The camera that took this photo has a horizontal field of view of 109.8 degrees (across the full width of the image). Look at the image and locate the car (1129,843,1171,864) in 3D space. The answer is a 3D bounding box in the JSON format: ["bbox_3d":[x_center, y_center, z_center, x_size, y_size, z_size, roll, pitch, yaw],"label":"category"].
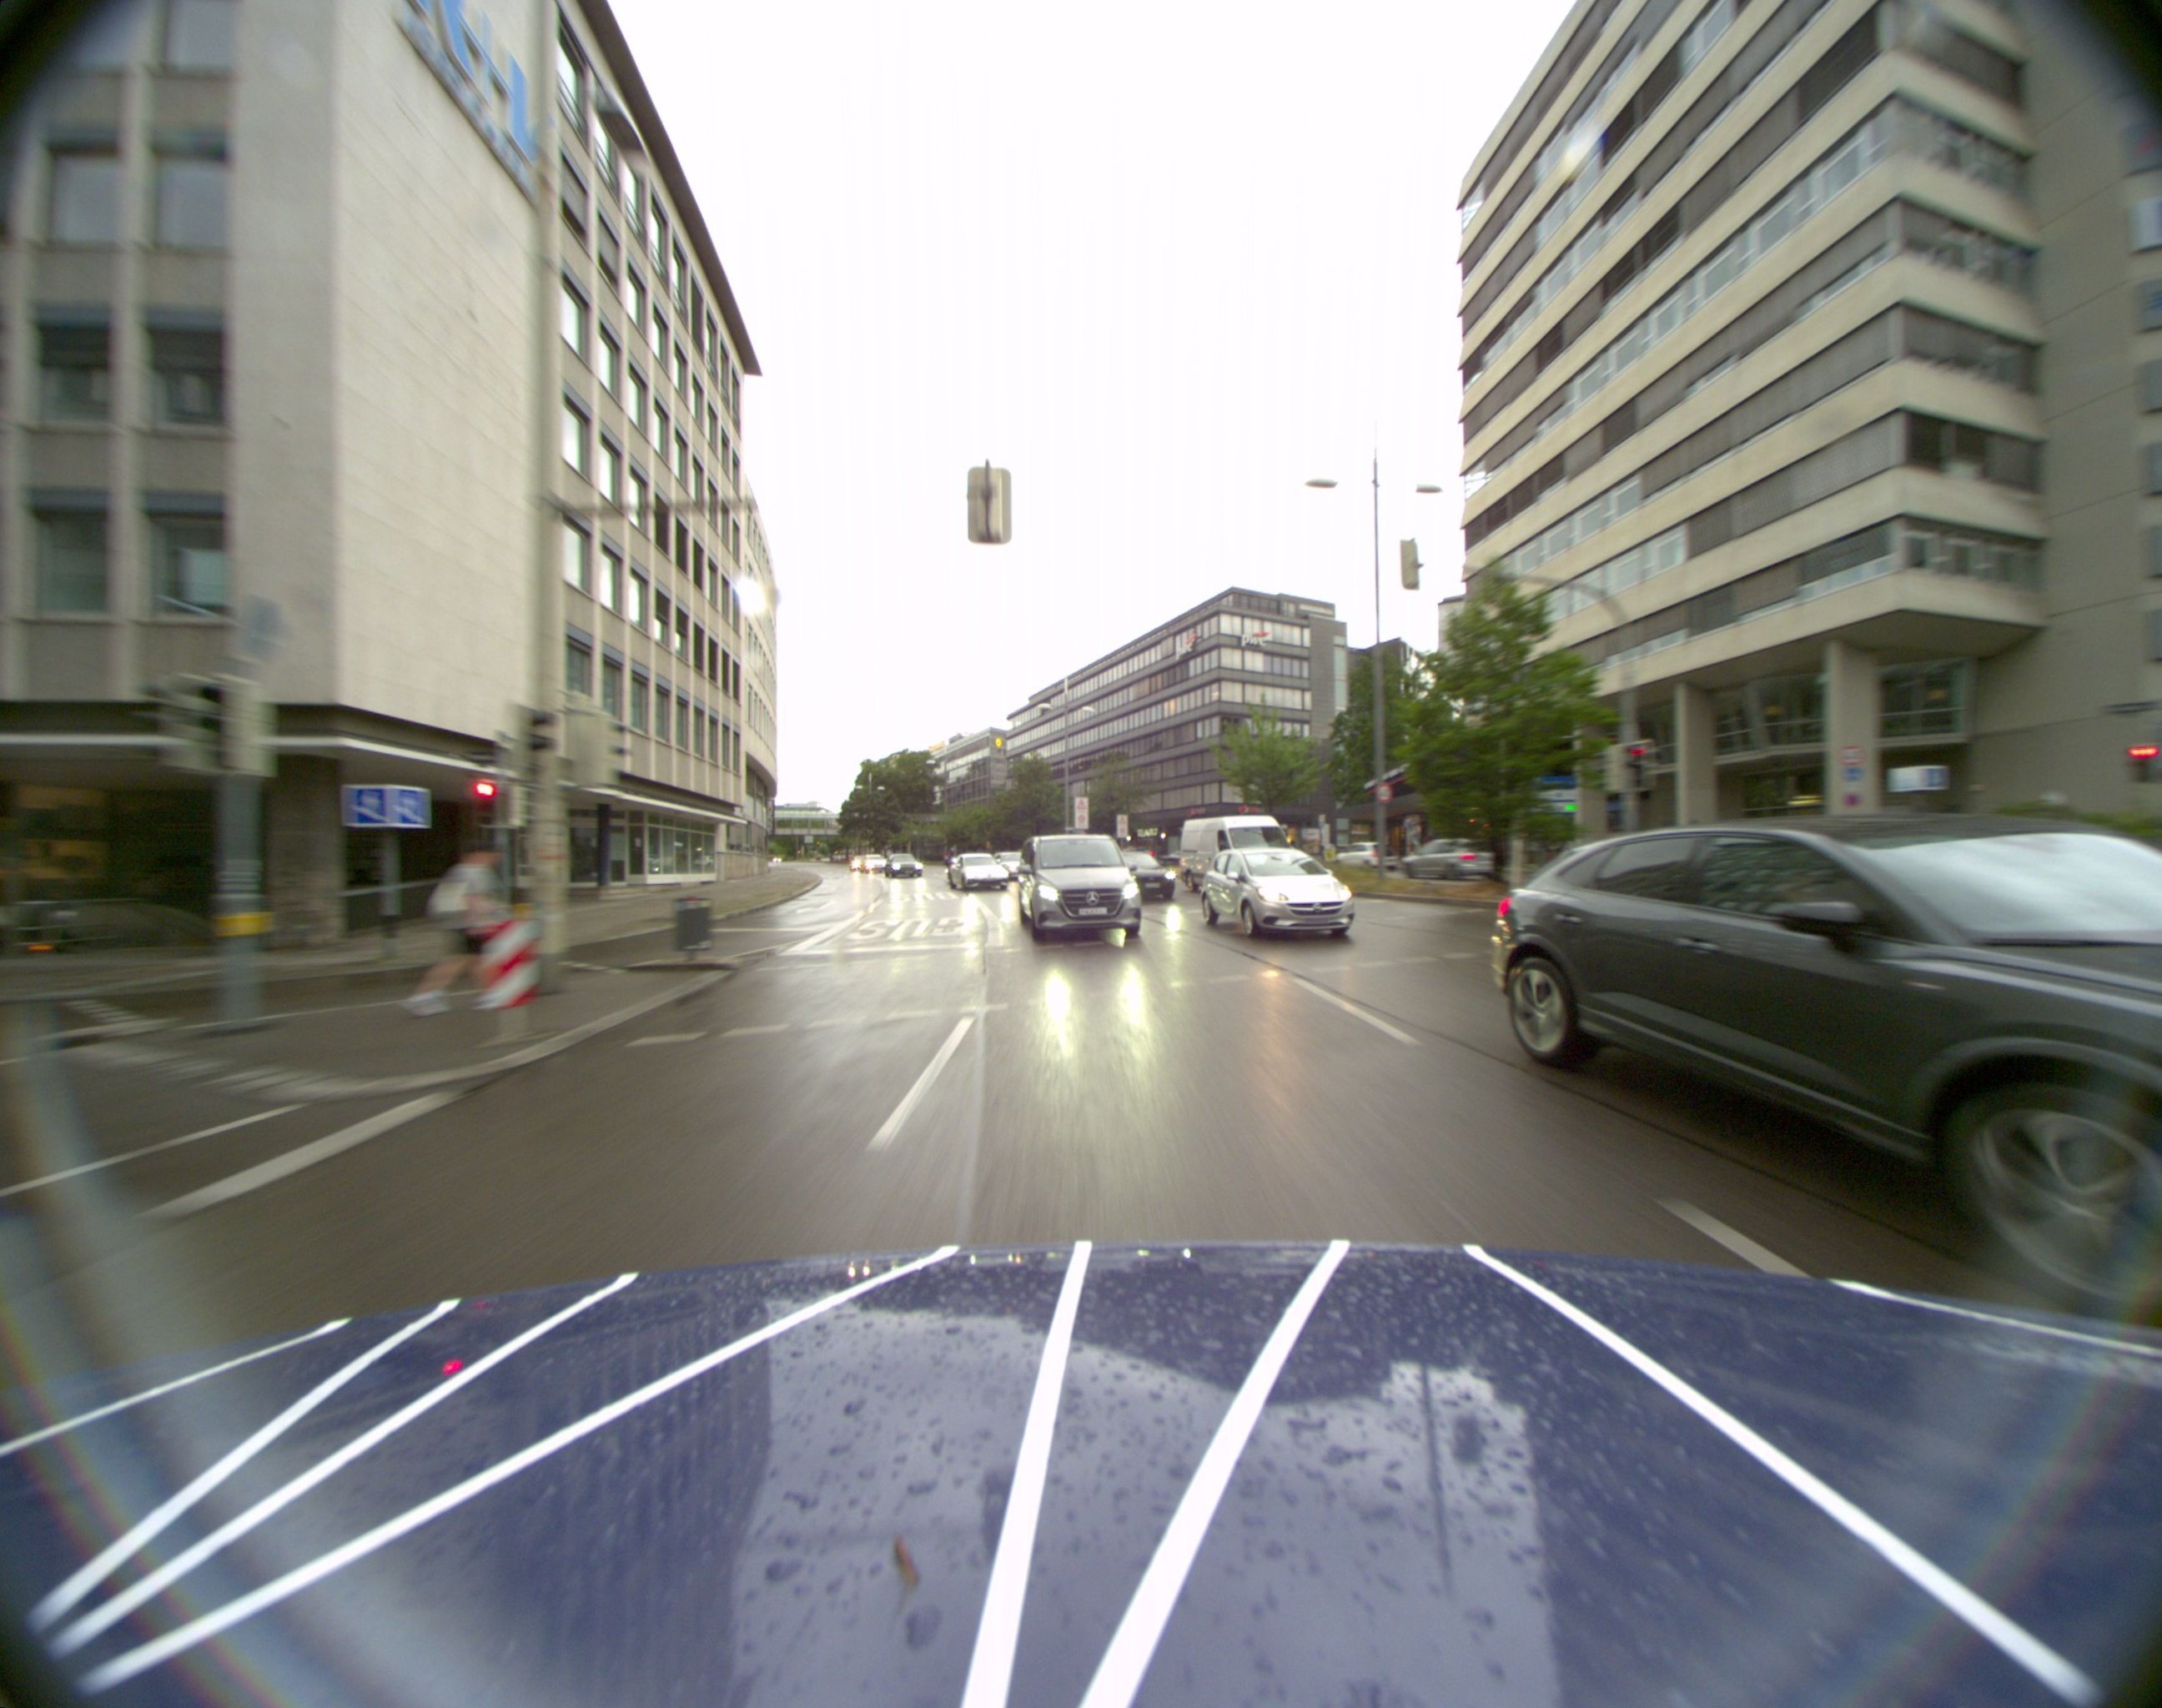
[{"bbox_3d":[5.545,-0.034,61.390,1.756,1.508,4.056,-3,1,-20],"label":"car"}]

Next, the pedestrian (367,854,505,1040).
[{"bbox_3d":[-6.377,0.873,7.562,0.654,1.716,0.816,-2,1,-11],"label":"pedestrian"}]

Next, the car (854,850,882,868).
[{"bbox_3d":[-19.351,0.448,68.956,1.895,1.477,3.992,-3,1,-23],"label":"car"}]

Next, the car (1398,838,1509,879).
[{"bbox_3d":[14.551,0.167,29.971,1.744,1.455,3.995,-2,1,-14],"label":"car"}]

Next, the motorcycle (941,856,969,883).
[{"bbox_3d":[-6.455,0.761,38.695,1.131,1.259,3.370,-2,1,-13],"label":"motorcycle"}]

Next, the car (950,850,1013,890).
[{"bbox_3d":[-4.213,0.625,31.583,1.692,1.477,3.993,-3,1,-20],"label":"car"}]

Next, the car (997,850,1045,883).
[{"bbox_3d":[-3.168,0.613,39.362,1.755,1.508,3.763,-2,1,-15],"label":"car"}]

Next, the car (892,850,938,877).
[{"bbox_3d":[-10.063,0.559,45.828,1.895,1.477,3.992,-3,1,-24],"label":"car"}]

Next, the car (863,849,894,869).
[{"bbox_3d":[-16.588,0.417,62.178,1.895,1.477,3.992,-3,1,-23],"label":"car"}]

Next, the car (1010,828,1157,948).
[{"bbox_3d":[-0.176,0.534,14.928,2.061,1.881,5.044,-2,1,-9],"label":"car"}]

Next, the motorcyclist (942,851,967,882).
[{"bbox_3d":[-6.468,0.618,38.774,1.153,1.501,1.196,-2,1,-13],"label":"motorcyclist"}]

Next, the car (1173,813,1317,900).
[{"bbox_3d":[4.978,0.058,24.217,2.261,2.371,5.713,-2,1,-12],"label":"car"}]

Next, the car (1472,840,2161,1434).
[{"bbox_3d":[3.790,0.742,3.402,1.802,1.543,4.387,-2,1,0],"label":"car"}]

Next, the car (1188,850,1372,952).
[{"bbox_3d":[3.341,0.700,13.648,1.775,1.470,4.124,-2,1,-7],"label":"car"}]

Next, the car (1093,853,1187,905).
[{"bbox_3d":[1.736,0.716,23.763,1.906,1.393,4.237,-2,1,-10],"label":"car"}]

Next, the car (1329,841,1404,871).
[{"bbox_3d":[15.445,0.088,41.317,1.755,1.508,4.057,-2,1,-16],"label":"car"}]
